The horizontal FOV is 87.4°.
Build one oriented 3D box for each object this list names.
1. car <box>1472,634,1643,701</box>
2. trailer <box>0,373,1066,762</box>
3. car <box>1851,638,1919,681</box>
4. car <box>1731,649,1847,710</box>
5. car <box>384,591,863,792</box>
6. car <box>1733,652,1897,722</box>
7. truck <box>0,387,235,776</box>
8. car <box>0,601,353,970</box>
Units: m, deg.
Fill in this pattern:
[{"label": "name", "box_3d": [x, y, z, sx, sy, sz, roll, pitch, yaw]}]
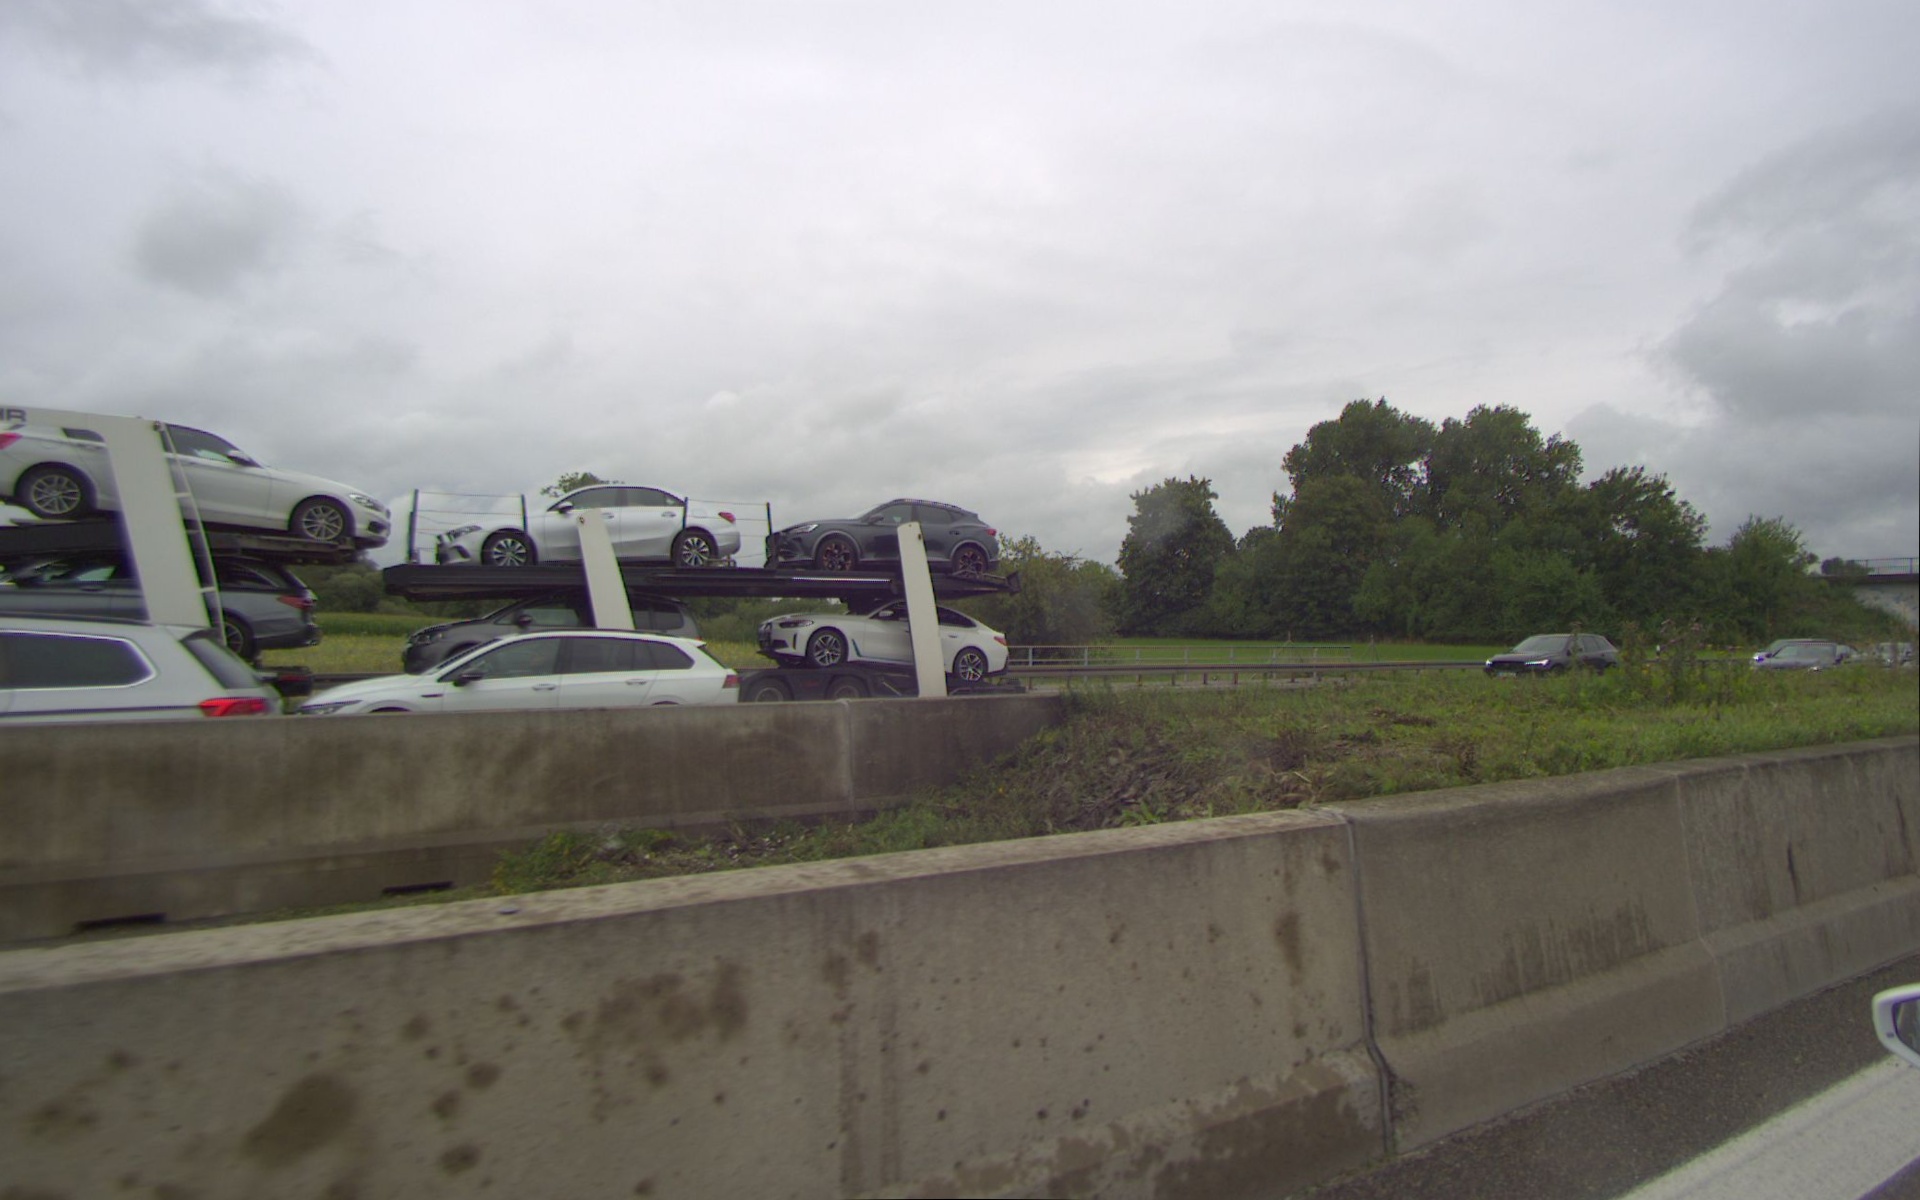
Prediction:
[{"label": "car", "box_3d": [17.364, 1.892, 29.147, 4.901, 1.733, 2.084, 1, 0, -29]}, {"label": "trailer", "box_3d": [-5.560, -0.163, 15.784, 15.523, 4.298, 2.984, 2, 0, -30]}, {"label": "car", "box_3d": [45.587, 2.887, 49.092, 5.205, 1.995, 1.809, 2, -2, -34]}, {"label": "car", "box_3d": [29.925, 2.827, 36.256, 3.953, 2.040, 1.984, 1, -2, -30]}, {"label": "car", "box_3d": [-3.835, 0.949, 11.752, 4.973, 1.904, 1.984, 2, 0, -30]}, {"label": "car", "box_3d": [24.501, 2.424, 28.755, 4.742, 1.733, 2.084, 1, 0, -29]}, {"label": "truck", "box_3d": [-12.484, -0.269, 11.699, 6.163, 4.298, 2.942, 2, 0, -31]}, {"label": "car", "box_3d": [-6.196, 0.970, 5.767, 4.537, 1.904, 1.918, 2, 0, -30]}]
